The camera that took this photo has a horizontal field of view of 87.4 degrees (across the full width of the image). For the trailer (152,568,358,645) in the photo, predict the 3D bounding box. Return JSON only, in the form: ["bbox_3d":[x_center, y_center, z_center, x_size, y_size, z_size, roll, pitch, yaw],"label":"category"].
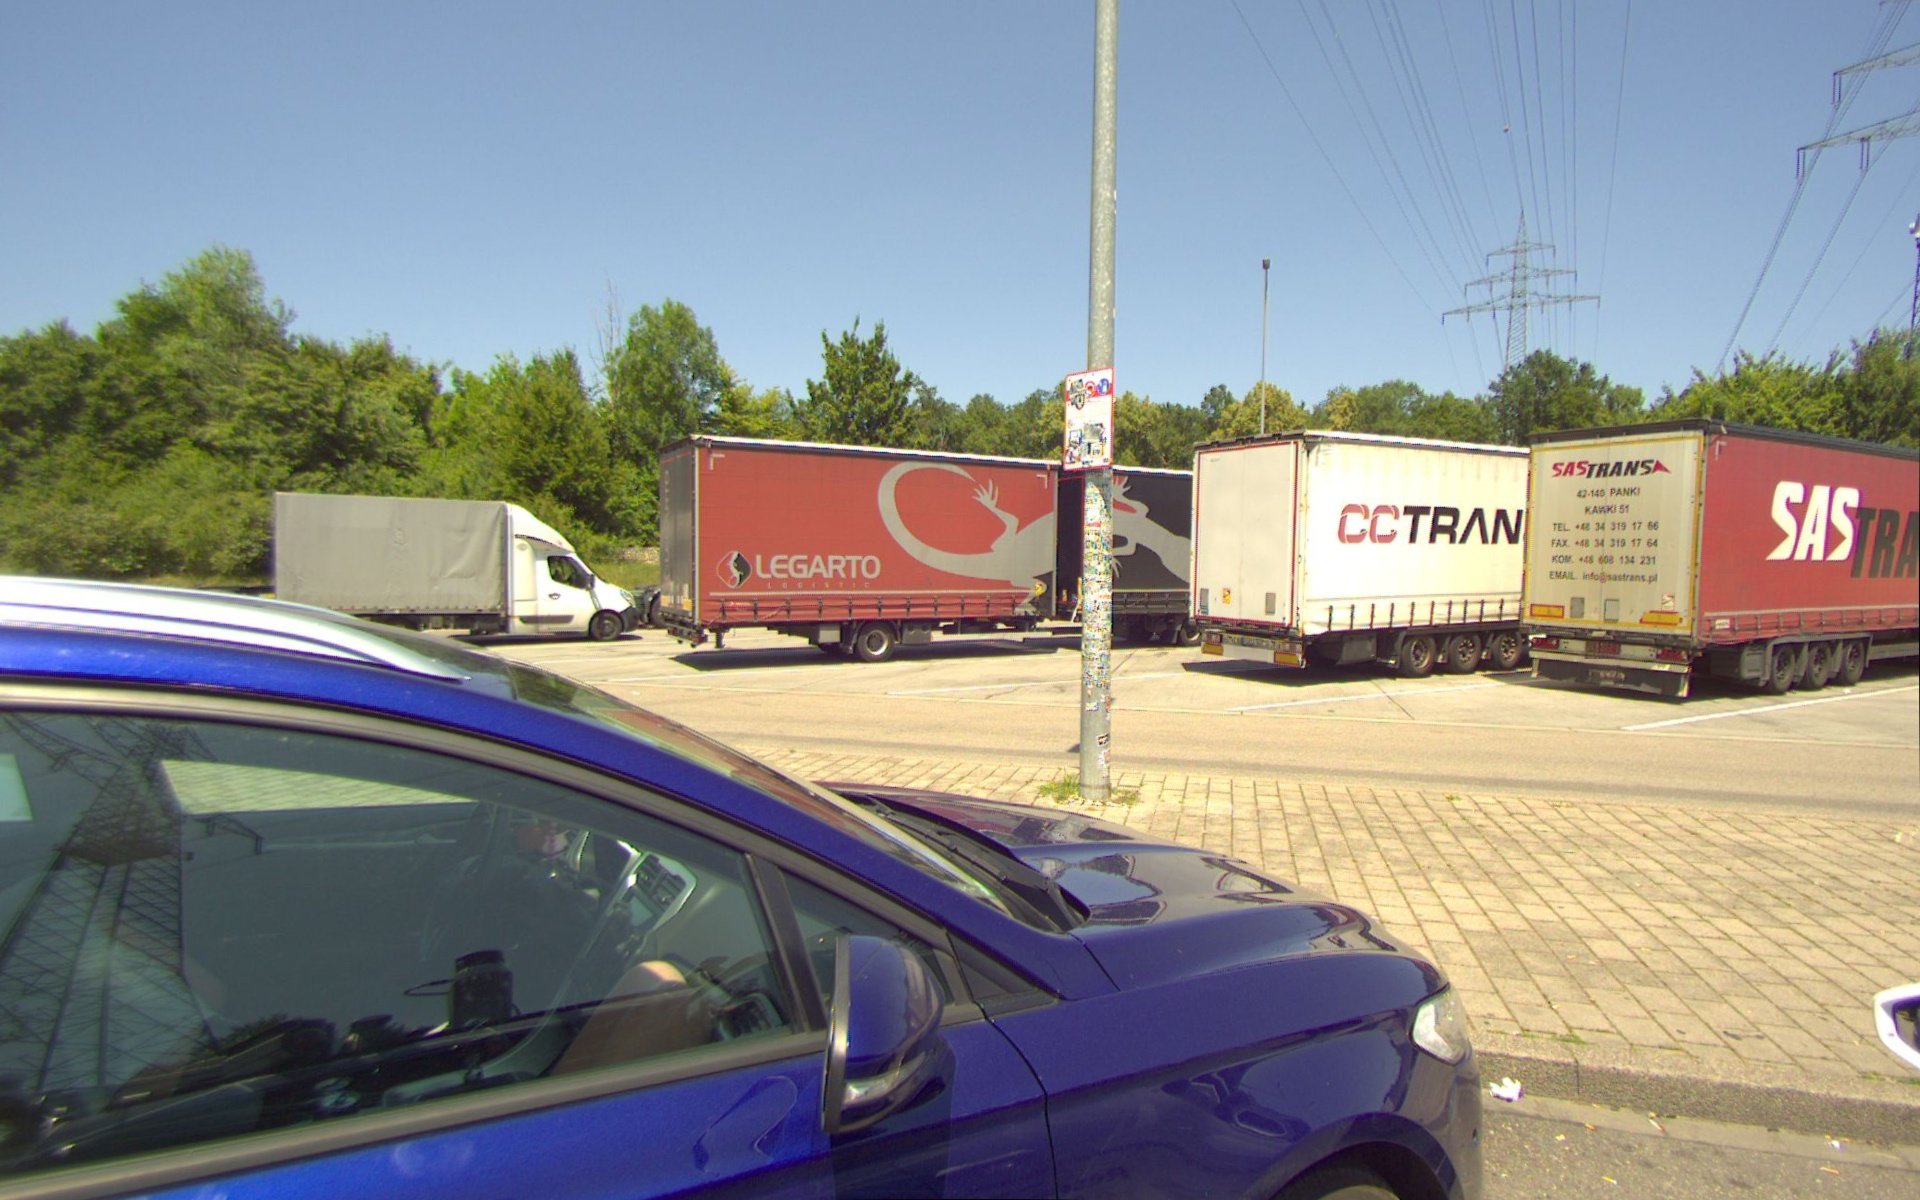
[{"bbox_3d":[-16.513,0.144,23.776,3.856,1.684,1.464,0,1,-30],"label":"trailer"}]

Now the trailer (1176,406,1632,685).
[{"bbox_3d":[8.703,-0.829,19.104,9.614,4.321,2.733,0,1,-29],"label":"trailer"}]

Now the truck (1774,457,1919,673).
[{"bbox_3d":[20.810,-0.673,21.767,6.749,4.136,2.729,0,1,-31],"label":"truck"}]

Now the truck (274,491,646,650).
[{"bbox_3d":[-11.136,-0.607,22.932,7.265,3.170,2.352,0,1,-30],"label":"truck"}]

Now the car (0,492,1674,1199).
[{"bbox_3d":[-1.019,0.656,1.462,4.419,1.485,1.765,0,1,-32],"label":"car"}]

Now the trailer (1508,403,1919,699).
[{"bbox_3d":[15.259,-0.670,18.485,13.129,4.112,2.736,0,1,-31],"label":"trailer"}]

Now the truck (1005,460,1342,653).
[{"bbox_3d":[5.393,-0.911,24.579,8.534,4.073,2.624,0,1,-30],"label":"truck"}]

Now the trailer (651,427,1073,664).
[{"bbox_3d":[-1.799,-0.919,20.307,8.158,4.027,2.651,0,1,-30],"label":"trailer"}]
